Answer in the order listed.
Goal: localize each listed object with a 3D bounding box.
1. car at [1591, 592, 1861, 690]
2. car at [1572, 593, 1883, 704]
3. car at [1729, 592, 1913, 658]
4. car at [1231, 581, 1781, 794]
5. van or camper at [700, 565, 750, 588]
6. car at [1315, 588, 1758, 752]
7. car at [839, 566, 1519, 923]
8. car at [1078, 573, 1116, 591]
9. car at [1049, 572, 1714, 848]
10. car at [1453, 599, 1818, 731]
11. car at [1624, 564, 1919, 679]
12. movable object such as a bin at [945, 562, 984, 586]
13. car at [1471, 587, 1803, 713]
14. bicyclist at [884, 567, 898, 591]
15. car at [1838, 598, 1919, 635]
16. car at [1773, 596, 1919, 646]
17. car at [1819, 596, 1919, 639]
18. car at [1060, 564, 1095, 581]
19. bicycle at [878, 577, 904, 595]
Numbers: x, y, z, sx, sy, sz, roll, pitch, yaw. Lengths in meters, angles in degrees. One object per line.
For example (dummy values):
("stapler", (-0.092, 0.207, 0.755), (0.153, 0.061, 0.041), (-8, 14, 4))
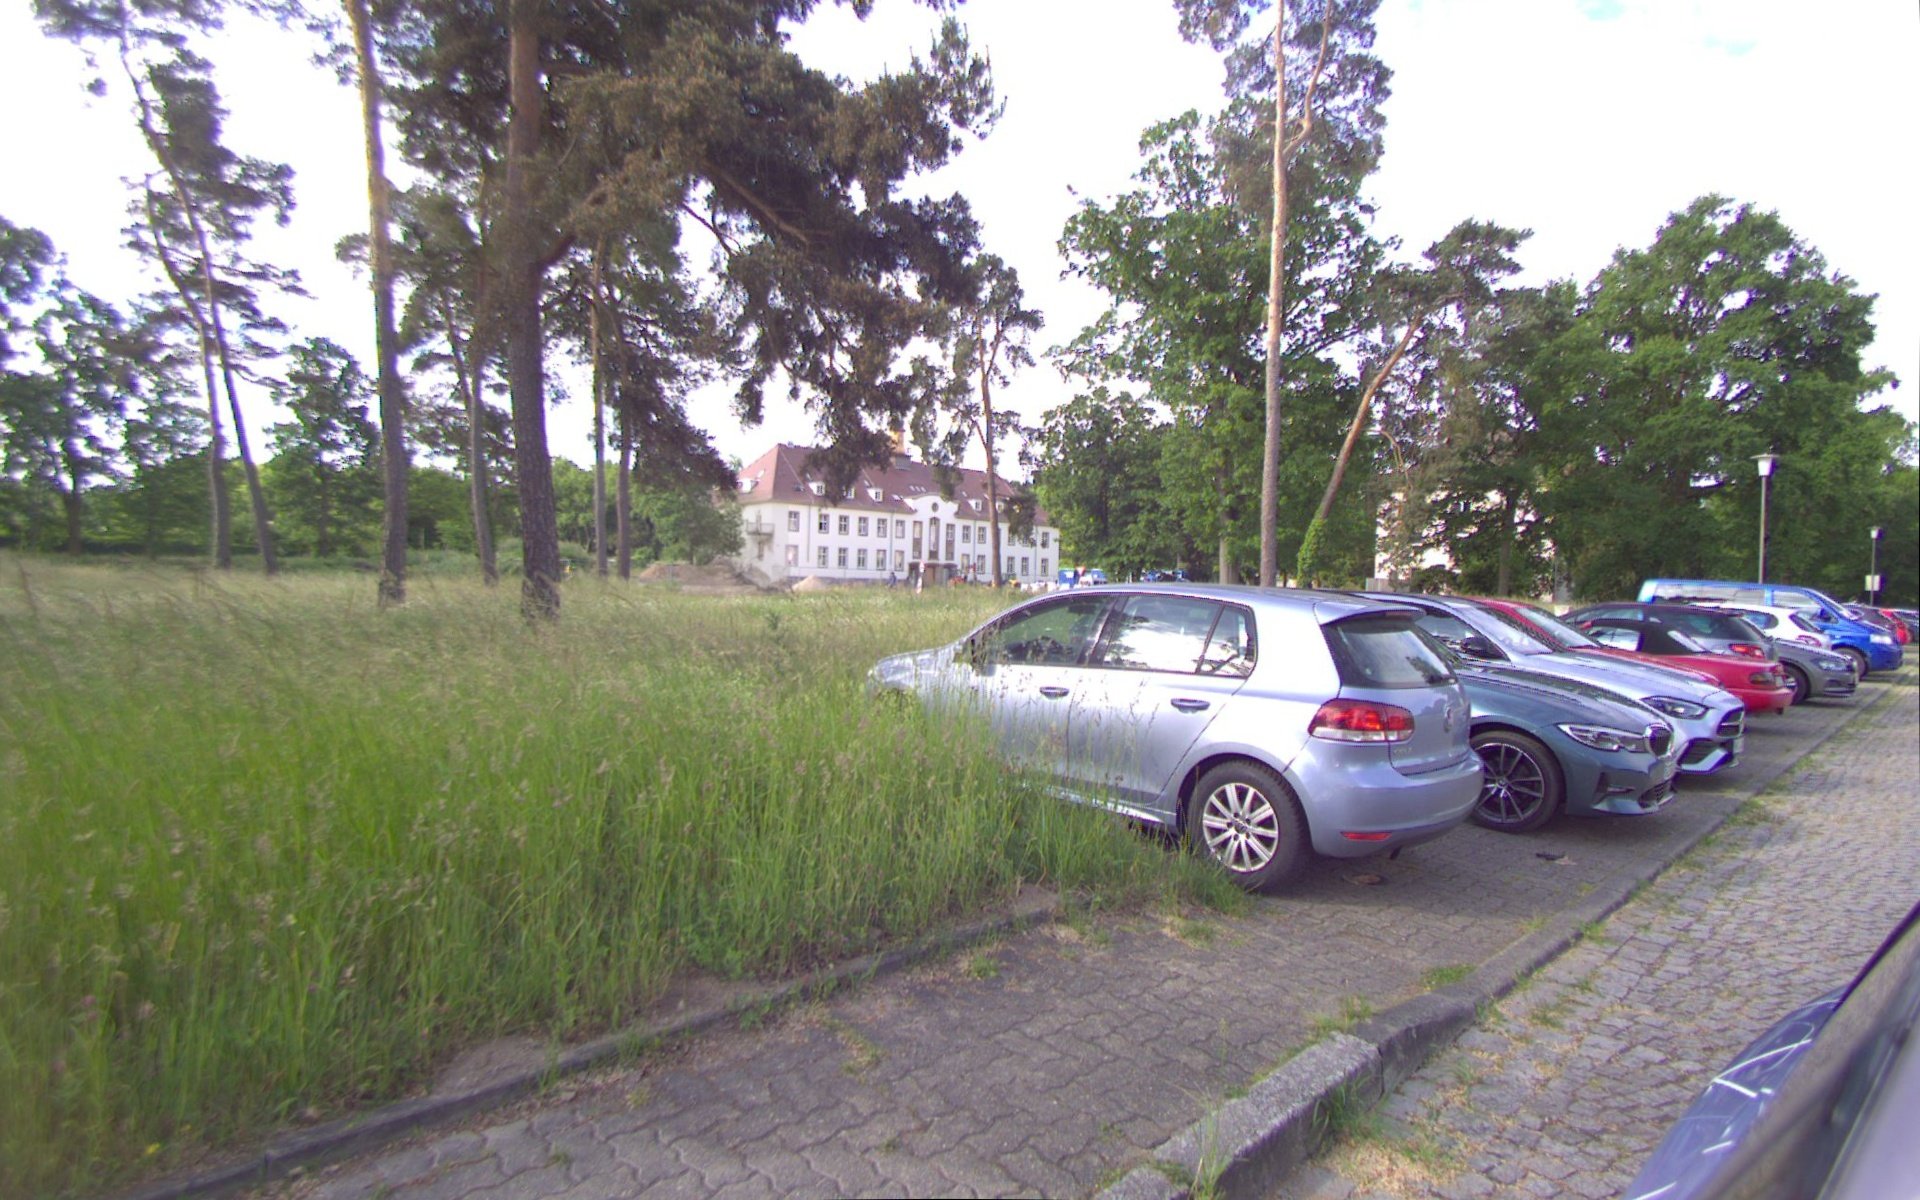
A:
("car", (14.144, 0.672, 18.851), (1.554, 1.517, 3.759), (1, 2, -41))
("car", (12.368, 0.690, 16.494), (1.614, 1.483, 3.779), (1, 2, -41))
("car", (24.119, 0.642, 28.439), (3.828, 1.621, 1.556), (3, 1, 43))
("car", (5.012, 0.627, 9.767), (1.738, 1.446, 4.330), (0, 3, -44))
("van or camper", (-24.775, -2.490, 106.590), (6.057, 2.250, 1.971), (3, 2, 40))
("car", (6.445, 0.645, 11.686), (1.690, 1.441, 4.114), (0, 2, -42))
("car", (1.095, 0.575, 6.277), (3.844, 1.489, 1.615), (3, 2, 45))
("car", (14.548, -1.918, 107.604), (3.867, 1.704, 1.847), (0, 3, -41))
("car", (3.029, 0.585, 8.018), (4.515, 1.501, 1.779), (3, 2, 44))
("car", (8.433, 0.723, 12.848), (1.580, 1.303, 3.552), (2, 1, -42))
("car", (18.005, 0.368, 22.539), (2.025, 2.047, 4.951), (1, 4, -42))
("movable object such as a bin", (0.582, -3.164, 125.126), (1.992, 2.802, 5.126), (2, 2, 41))
("car", (9.911, 0.624, 15.025), (1.577, 1.522, 3.832), (1, 2, -43))
("bicyclist", (-5.043, -1.512, 73.964), (0.830, 1.756, 0.667), (0, -1, -40))
("car", (42.365, 0.748, 45.719), (1.643, 1.548, 3.838), (1, 2, -38))
("car", (31.238, 0.708, 35.724), (3.828, 1.544, 1.556), (3, 2, 43))
("car", (38.858, 0.717, 42.626), (1.552, 1.638, 3.838), (1, 2, -38))
("car", (14.640, -3.393, 126.281), (3.927, 2.038, 2.219), (0, 2, -39))
("bicycle", (-5.034, -1.015, 73.992), (1.946, 1.223, 0.638), (0, 1, -41))
